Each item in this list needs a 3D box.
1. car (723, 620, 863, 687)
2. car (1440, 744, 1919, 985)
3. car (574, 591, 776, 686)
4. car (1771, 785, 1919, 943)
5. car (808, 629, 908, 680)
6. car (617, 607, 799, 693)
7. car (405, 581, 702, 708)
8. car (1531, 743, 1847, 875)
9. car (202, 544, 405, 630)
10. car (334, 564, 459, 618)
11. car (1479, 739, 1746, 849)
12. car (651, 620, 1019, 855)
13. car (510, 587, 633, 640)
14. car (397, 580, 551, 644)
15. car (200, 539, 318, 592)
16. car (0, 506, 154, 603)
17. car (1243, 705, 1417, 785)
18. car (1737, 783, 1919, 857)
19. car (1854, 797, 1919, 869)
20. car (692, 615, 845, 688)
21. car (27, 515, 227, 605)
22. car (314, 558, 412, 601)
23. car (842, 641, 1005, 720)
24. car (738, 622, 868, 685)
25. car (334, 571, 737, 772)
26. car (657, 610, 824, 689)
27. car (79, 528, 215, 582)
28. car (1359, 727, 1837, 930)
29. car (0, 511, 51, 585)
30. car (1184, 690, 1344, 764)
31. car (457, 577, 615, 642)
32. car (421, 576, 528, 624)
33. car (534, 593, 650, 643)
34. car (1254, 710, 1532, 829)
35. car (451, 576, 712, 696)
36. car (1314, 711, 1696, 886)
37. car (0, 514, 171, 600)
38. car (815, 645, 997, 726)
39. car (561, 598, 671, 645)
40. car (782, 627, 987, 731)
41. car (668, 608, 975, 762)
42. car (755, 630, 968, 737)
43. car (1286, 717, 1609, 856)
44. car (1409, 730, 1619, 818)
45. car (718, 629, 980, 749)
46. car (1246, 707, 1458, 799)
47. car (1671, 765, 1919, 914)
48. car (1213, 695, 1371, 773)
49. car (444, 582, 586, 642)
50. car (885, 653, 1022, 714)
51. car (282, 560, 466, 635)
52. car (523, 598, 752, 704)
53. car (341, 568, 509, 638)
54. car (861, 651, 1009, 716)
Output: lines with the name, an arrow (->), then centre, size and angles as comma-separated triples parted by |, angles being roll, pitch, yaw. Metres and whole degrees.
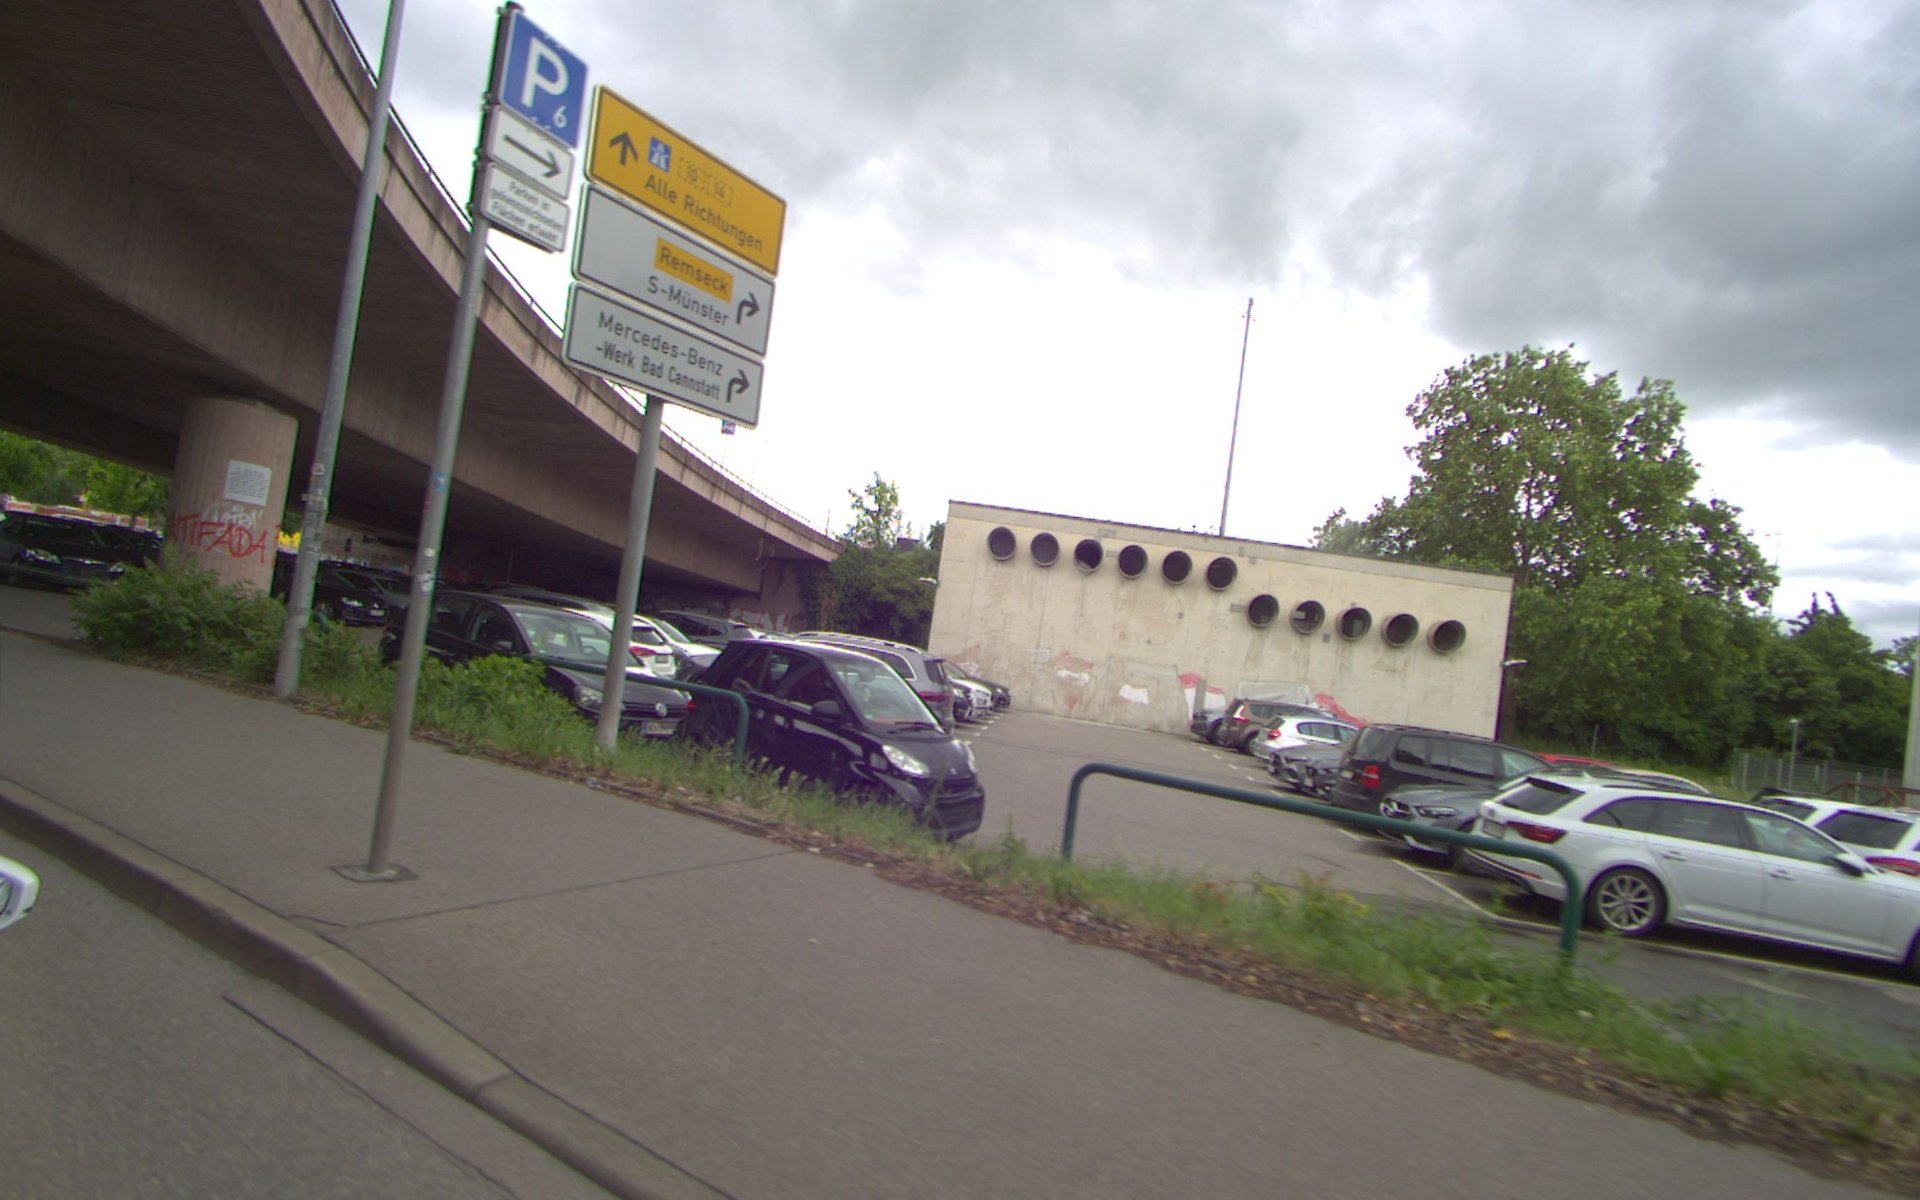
car -> -5.547, 1.797, 33.723 | 4.113, 1.610, 1.841 | 8, -2, 6
car -> 7.659, 2.621, 10.156 | 4.598, 1.491, 1.862 | 8, -3, 9
car -> -6.773, 0.948, 24.157 | 4.113, 1.610, 1.841 | 8, -2, 6
car -> 12.853, 3.447, 12.076 | 4.415, 1.530, 1.842 | 8, -3, 9
car -> -4.648, 2.506, 46.153 | 4.113, 1.706, 1.841 | 8, -2, 6
car -> -6.603, 1.325, 26.610 | 4.113, 1.610, 1.841 | 8, -2, 6
car -> -6.734, 0.757, 16.921 | 4.113, 1.437, 1.841 | 8, -3, 6
car -> 13.724, 3.904, 19.206 | 4.415, 1.530, 1.842 | 8, -3, 9
car -> -17.297, -0.324, 26.625 | 4.113, 1.567, 1.841 | 8, -2, 6
car -> -21.669, -0.313, 38.760 | 3.789, 1.443, 1.682 | 8, -2, 6
car -> 13.949, 4.123, 21.759 | 4.357, 1.441, 1.842 | 8, -3, 9
car -> -1.108, 1.138, 8.944 | 2.714, 1.495, 1.544 | 6, -3, 30
car -> -15.675, 0.565, 40.698 | 4.113, 1.482, 1.841 | 8, -3, 6
car -> -16.176, 0.424, 33.576 | 4.113, 1.482, 1.841 | 8, -3, 6
car -> -30.882, -1.503, 44.405 | 3.791, 1.656, 1.760 | 8, -2, 0
car -> -18.511, -0.960, 20.518 | 3.793, 1.522, 1.792 | 5, -5, 29
car -> 9.789, 3.818, 26.871 | 3.901, 1.408, 1.772 | 8, -3, 7
car -> 25.806, 6.518, 29.940 | 3.971, 1.353, 1.499 | 8, -2, 4
car -> 24.823, 5.996, 24.795 | 3.988, 1.476, 1.499 | 8, -2, 4
car -> -5.874, 1.611, 31.176 | 4.113, 1.610, 1.841 | 8, -2, 6
car -> -22.305, -1.045, 27.027 | 3.789, 1.717, 1.841 | 8, -2, 6
car -> -30.326, -1.027, 51.180 | 3.791, 1.495, 1.760 | 8, -2, 0
car -> -0.967, 2.221, 28.092 | 4.180, 1.525, 1.712 | 8, -2, 6
car -> -5.573, 1.925, 36.046 | 4.113, 1.610, 1.841 | 8, -2, 6
car -> -4.681, 0.723, 10.958 | 4.178, 1.495, 1.735 | 6, -3, 30
car -> -6.228, 1.434, 28.830 | 4.113, 1.610, 1.841 | 8, -2, 6
car -> -32.294, -1.758, 40.031 | 3.791, 1.450, 1.760 | 8, -3, 0
car -> 7.726, 2.746, 12.628 | 4.598, 1.491, 1.861 | 8, -3, 7
car -> -22.677, -1.397, 22.476 | 3.311, 1.515, 1.534 | 8, -5, 6
car -> 9.450, 3.939, 31.600 | 4.404, 1.550, 1.772 | 8, -2, 7
car -> -16.178, 0.383, 38.500 | 5.010, 1.695, 2.094 | 8, -3, 6
car -> -20.552, 0.017, 42.692 | 3.593, 1.443, 1.682 | 8, -2, 6
car -> -15.639, 0.778, 42.843 | 4.113, 1.482, 1.841 | 8, -3, 6
car -> 8.363, 3.265, 19.802 | 4.533, 1.459, 1.861 | 8, -3, 7
car -> -7.145, 0.710, 19.251 | 4.113, 1.610, 1.841 | 8, -2, 6
car -> 7.954, 2.873, 15.090 | 4.533, 1.645, 1.861 | 8, -2, 7
car -> -22.146, -1.127, 24.684 | 4.296, 1.485, 1.843 | 8, -4, 11
car -> -1.325, 2.164, 25.736 | 4.323, 1.378, 1.634 | 8, -2, 6
car -> -15.361, 0.974, 45.077 | 4.113, 1.482, 1.841 | 8, -3, 6
car -> -1.707, 1.831, 23.531 | 4.348, 1.710, 1.759 | 8, -2, 6
car -> -2.108, 1.320, 16.062 | 4.385, 1.693, 1.748 | 8, -2, 6
car -> -1.997, 1.723, 21.131 | 4.010, 1.574, 1.759 | 8, -2, 6
car -> 8.228, 3.135, 17.369 | 4.533, 1.459, 1.861 | 8, -3, 7
car -> 14.443, 4.516, 26.470 | 4.357, 1.441, 1.842 | 8, -3, 9
car -> -1.962, 1.615, 18.536 | 4.374, 1.465, 1.760 | 8, -2, 6
car -> 9.413, 3.663, 24.441 | 4.352, 1.408, 1.788 | 8, -3, 7
car -> 13.392, 3.611, 14.715 | 4.415, 1.530, 1.842 | 8, -3, 9
car -> 9.508, 3.817, 29.043 | 3.901, 1.550, 1.772 | 8, -2, 7
car -> -15.820, 0.446, 35.897 | 4.113, 1.482, 1.841 | 8, -3, 6
car -> -0.164, 2.694, 32.704 | 4.180, 1.320, 1.712 | 8, -3, 6
car -> -16.776, -0.050, 28.911 | 4.113, 1.482, 1.841 | 8, -3, 6
car -> -6.852, 1.097, 21.627 | 4.113, 1.610, 1.841 | 8, -2, 6
car -> -16.484, 0.125, 31.092 | 4.113, 1.482, 1.841 | 8, -3, 6
car -> -0.721, 2.520, 30.594 | 4.180, 1.320, 1.712 | 8, -3, 6
